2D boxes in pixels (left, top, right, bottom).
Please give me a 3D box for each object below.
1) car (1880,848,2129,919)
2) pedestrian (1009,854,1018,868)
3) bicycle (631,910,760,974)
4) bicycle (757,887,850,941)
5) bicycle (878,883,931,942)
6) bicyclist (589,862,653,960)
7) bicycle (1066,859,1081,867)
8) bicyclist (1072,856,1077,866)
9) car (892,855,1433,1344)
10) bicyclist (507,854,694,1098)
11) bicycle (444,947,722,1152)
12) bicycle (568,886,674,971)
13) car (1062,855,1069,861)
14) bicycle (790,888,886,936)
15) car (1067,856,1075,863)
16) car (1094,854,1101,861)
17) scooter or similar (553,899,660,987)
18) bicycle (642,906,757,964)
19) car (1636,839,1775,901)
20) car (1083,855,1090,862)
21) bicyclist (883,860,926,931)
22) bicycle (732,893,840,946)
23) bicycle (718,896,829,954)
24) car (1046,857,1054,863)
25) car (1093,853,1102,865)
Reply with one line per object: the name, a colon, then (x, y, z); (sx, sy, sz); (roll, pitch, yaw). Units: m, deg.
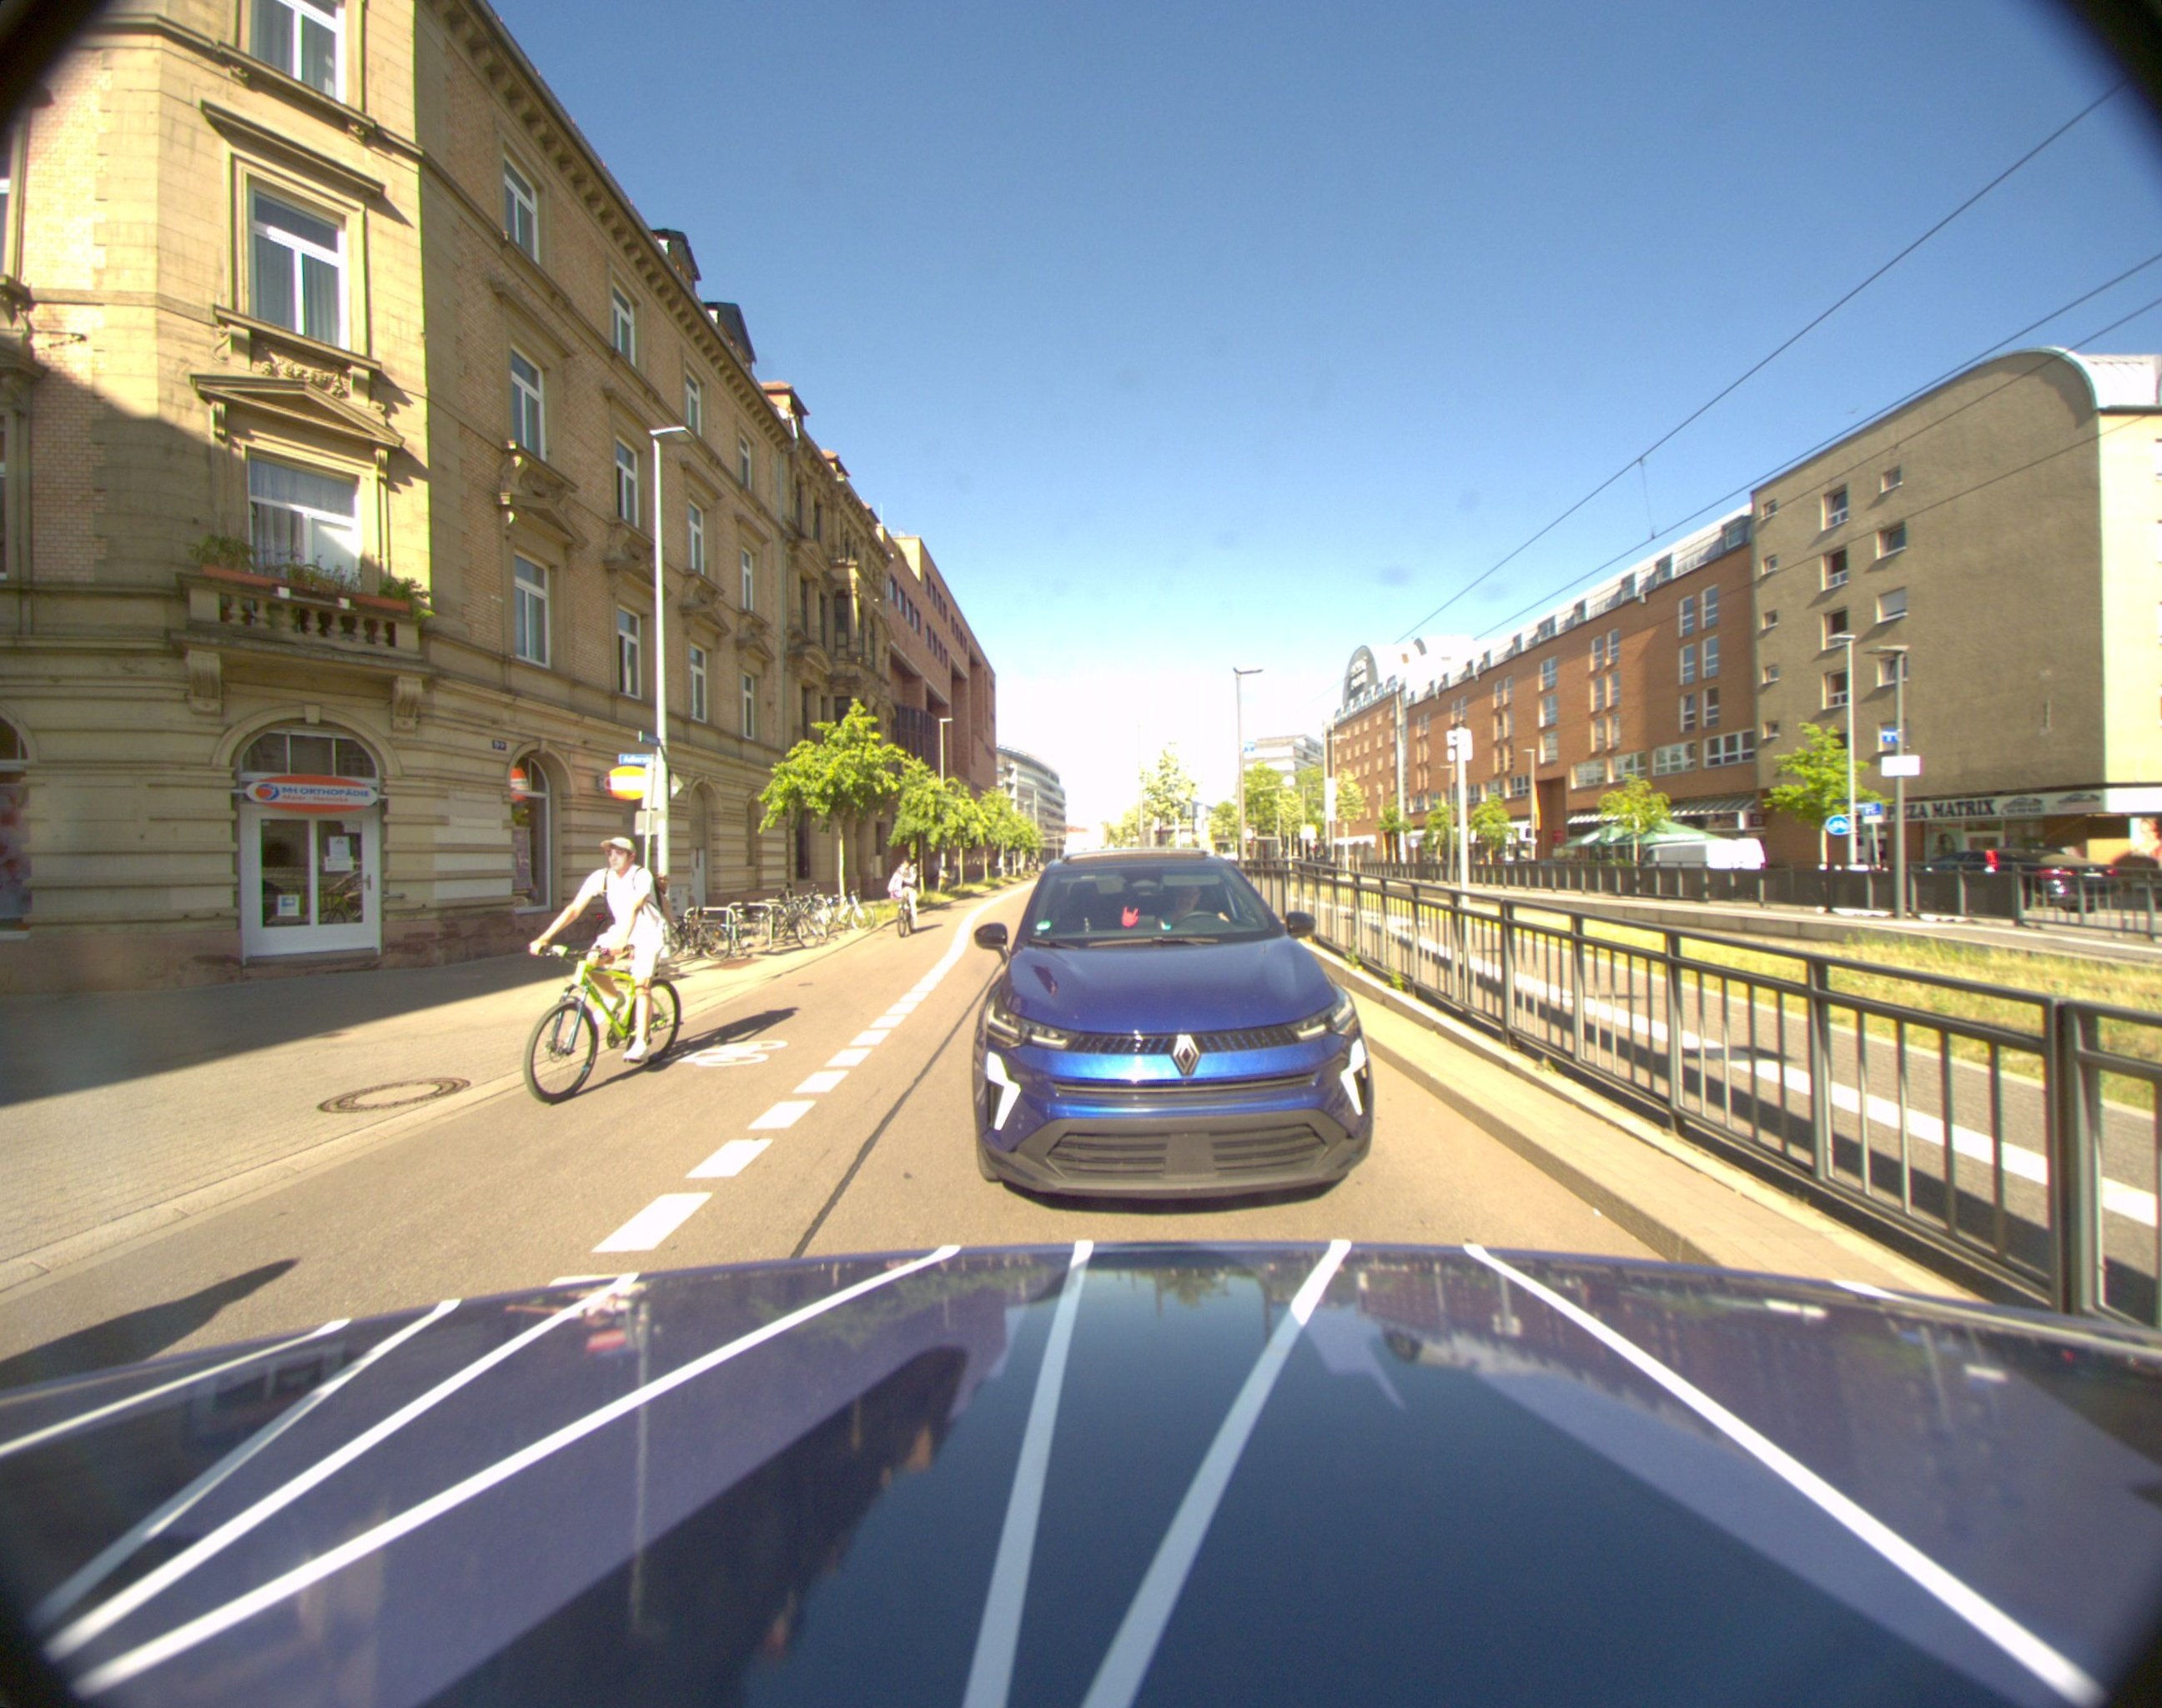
car: (24.216, 0.699, 20.183); (1.699, 1.630, 3.999); (-2, 1, -1)
pedestrian: (-9.597, 1.034, 108.127); (0.880, 2.002, 0.764); (-1, 1, 22)
bicycle: (-6.328, 1.428, 12.508); (1.905, 0.906, 0.592); (1, 2, 9)
bicycle: (-6.307, 1.356, 17.380); (1.678, 1.055, 1.134); (3, 1, -1)
bicycle: (-4.119, 1.338, 17.858); (0.725, 1.187, 1.952); (-2, 0, 1)
bicyclist: (-7.901, 0.955, 13.078); (0.579, 1.608, 0.794); (-1, 1, -2)
bicycle: (-1.074, 1.275, 109.252); (2.044, 1.013, 0.646); (-1, 0, 0)
bicyclist: (-0.956, 1.015, 109.279); (0.741, 1.301, 0.637); (-1, 0, -1)
car: (0.310, 0.852, 4.815); (1.758, 1.576, 4.420); (-4, 0, 1)
bicyclist: (-3.542, 0.838, 5.695); (0.700, 1.647, 0.977); (-2, 0, 1)
bicycle: (-3.528, 1.327, 5.659); (0.725, 1.000, 1.952); (-2, 0, 1)
bicycle: (-7.907, 1.230, 13.184); (0.579, 1.246, 2.097); (-1, 1, -2)
car: (-3.856, 1.038, 189.645); (1.745, 1.543, 4.000); (-1, 0, 1)
bicycle: (-5.978, 1.423, 18.782); (2.062, 1.036, 0.847); (2, 1, 0)
car: (-2.206, 1.188, 173.709); (1.745, 1.543, 4.000); (-1, 0, 1)
car: (4.015, 0.804, 186.288); (1.745, 1.543, 4.000); (-1, 0, 0)
scooter or similar: (-6.846, 1.277, 10.993); (1.199, 1.191, 0.487); (-1, 0, -4)
bicycle: (-6.577, 1.391, 13.142); (1.717, 0.920, 0.497); (-1, 1, 1)
car: (25.340, 0.561, 31.112); (1.997, 2.283, 5.192); (-2, 1, 9)
car: (1.250, 1.066, 172.422); (1.745, 1.543, 4.000); (-1, 0, 1)
bicyclist: (-4.135, 0.963, 17.866); (0.725, 1.595, 0.895); (-2, 0, 1)
bicycle: (-6.268, 1.382, 16.234); (1.903, 1.024, 1.030); (1, 1, -2)
bicycle: (-5.934, 1.363, 14.720); (1.876, 1.043, 0.608); (1, 1, -4)
car: (-7.057, 1.367, 174.298); (1.745, 1.543, 4.000); (-1, 0, 0)
car: (3.518, 1.084, 159.185); (1.758, 2.471, 4.610); (-1, 0, 1)
